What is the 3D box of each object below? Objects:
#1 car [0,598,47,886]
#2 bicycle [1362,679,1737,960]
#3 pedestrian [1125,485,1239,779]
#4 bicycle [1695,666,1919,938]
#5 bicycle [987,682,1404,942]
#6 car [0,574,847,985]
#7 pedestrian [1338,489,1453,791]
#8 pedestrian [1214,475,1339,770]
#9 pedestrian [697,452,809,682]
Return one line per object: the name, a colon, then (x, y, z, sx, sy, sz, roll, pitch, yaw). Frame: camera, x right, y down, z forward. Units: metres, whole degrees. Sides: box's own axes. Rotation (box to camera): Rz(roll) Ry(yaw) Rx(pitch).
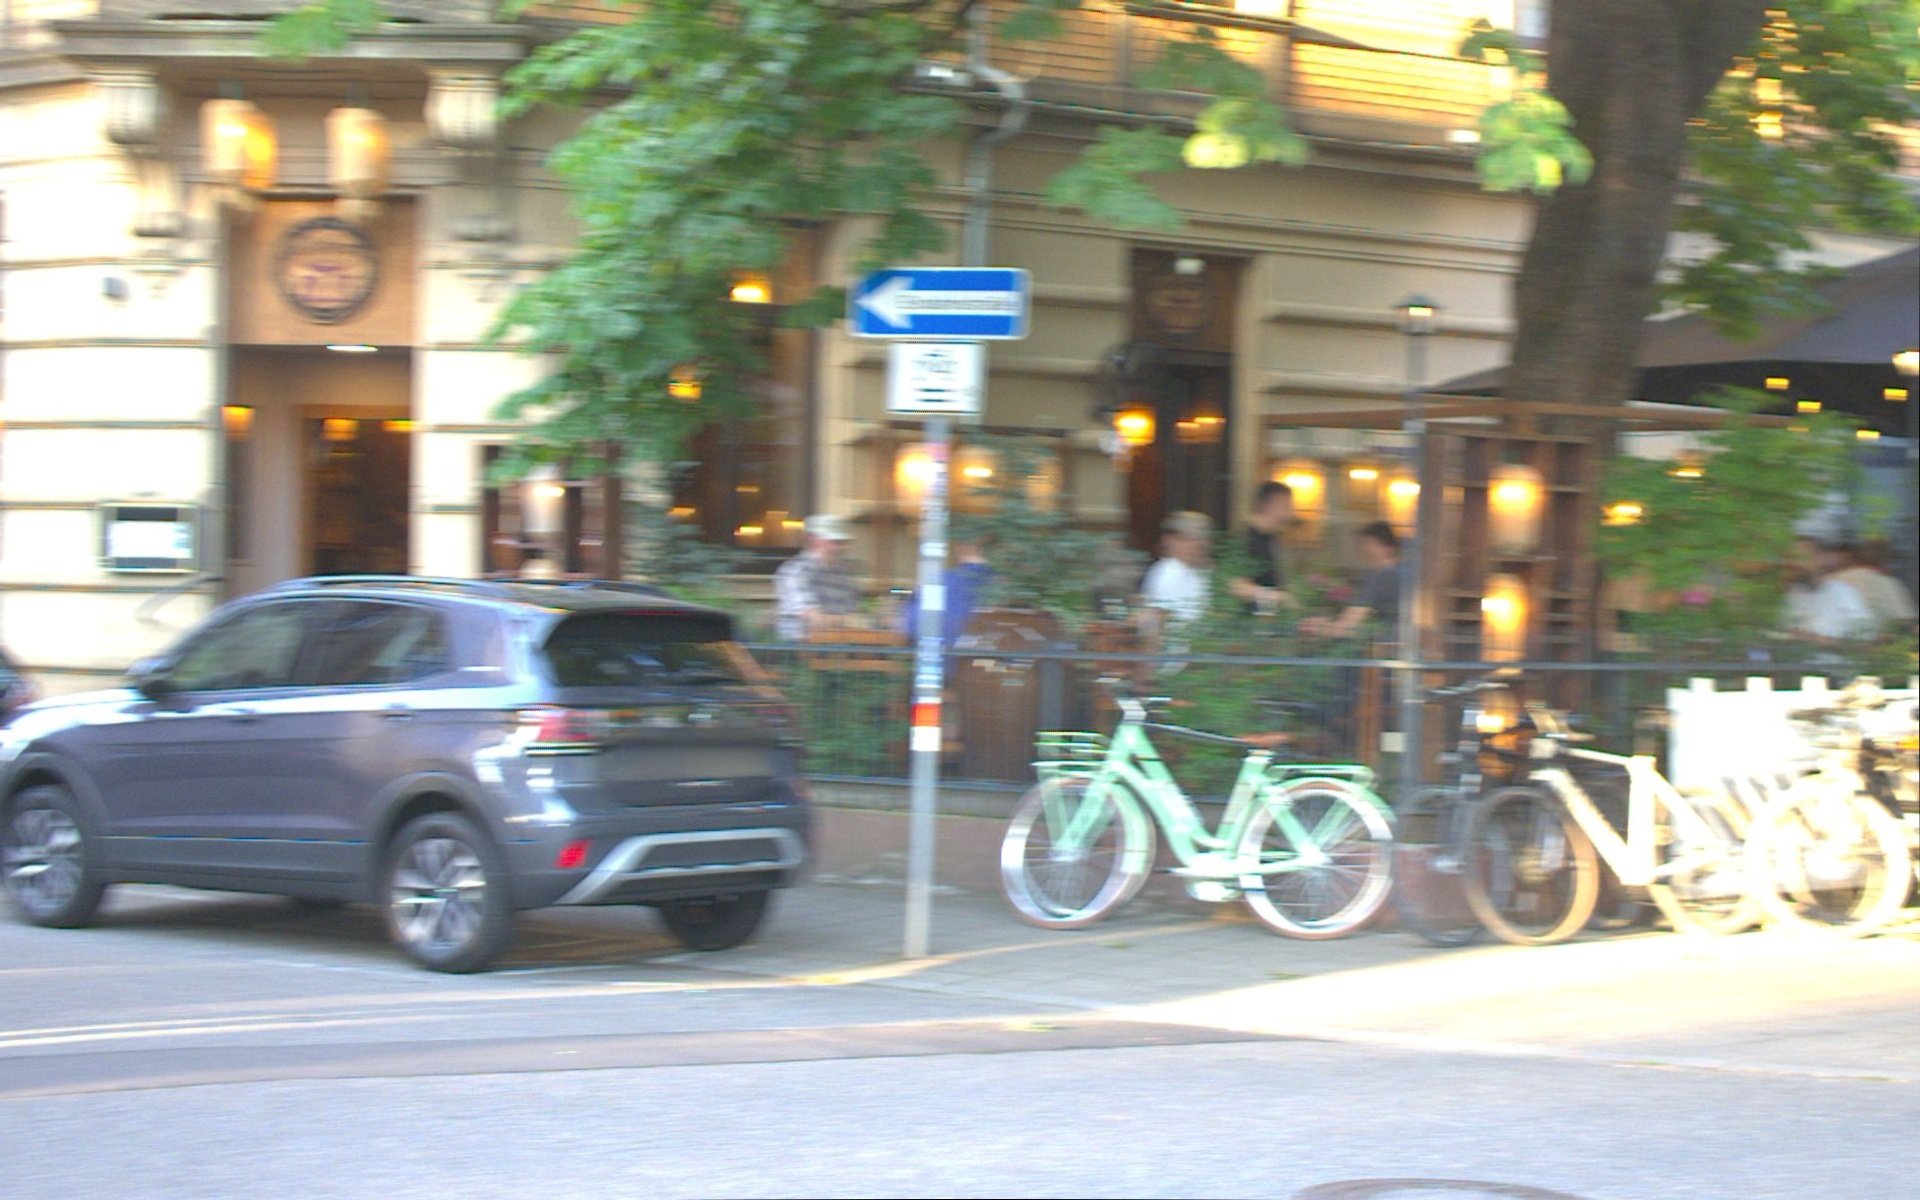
car: (-6.468, 0.689, 18.082, 3.330, 1.453, 1.464, 2, 2, 37)
bicycle: (2.602, 0.941, 15.096, 1.740, 1.140, 0.392, 0, 3, -30)
pedestrian: (1.115, 0.153, 17.237, 0.429, 1.446, 0.463, 0, 1, 25)
bicycle: (4.312, 0.919, 15.914, 1.950, 1.181, 0.392, 1, 3, -30)
bicycle: (1.048, 0.931, 15.407, 1.824, 1.094, 0.392, 0, 1, 18)
car: (-2.495, 0.668, 14.904, 3.854, 1.540, 1.629, 1, 1, 38)
pedestrian: (2.124, 0.188, 16.746, 0.429, 1.446, 0.463, 0, 1, 25)
pedestrian: (1.653, 0.110, 17.941, 0.523, 1.514, 0.463, 0, 1, 25)
pedestrian: (-1.286, -0.205, 21.393, 0.524, 1.407, 0.462, 1, 1, 42)
